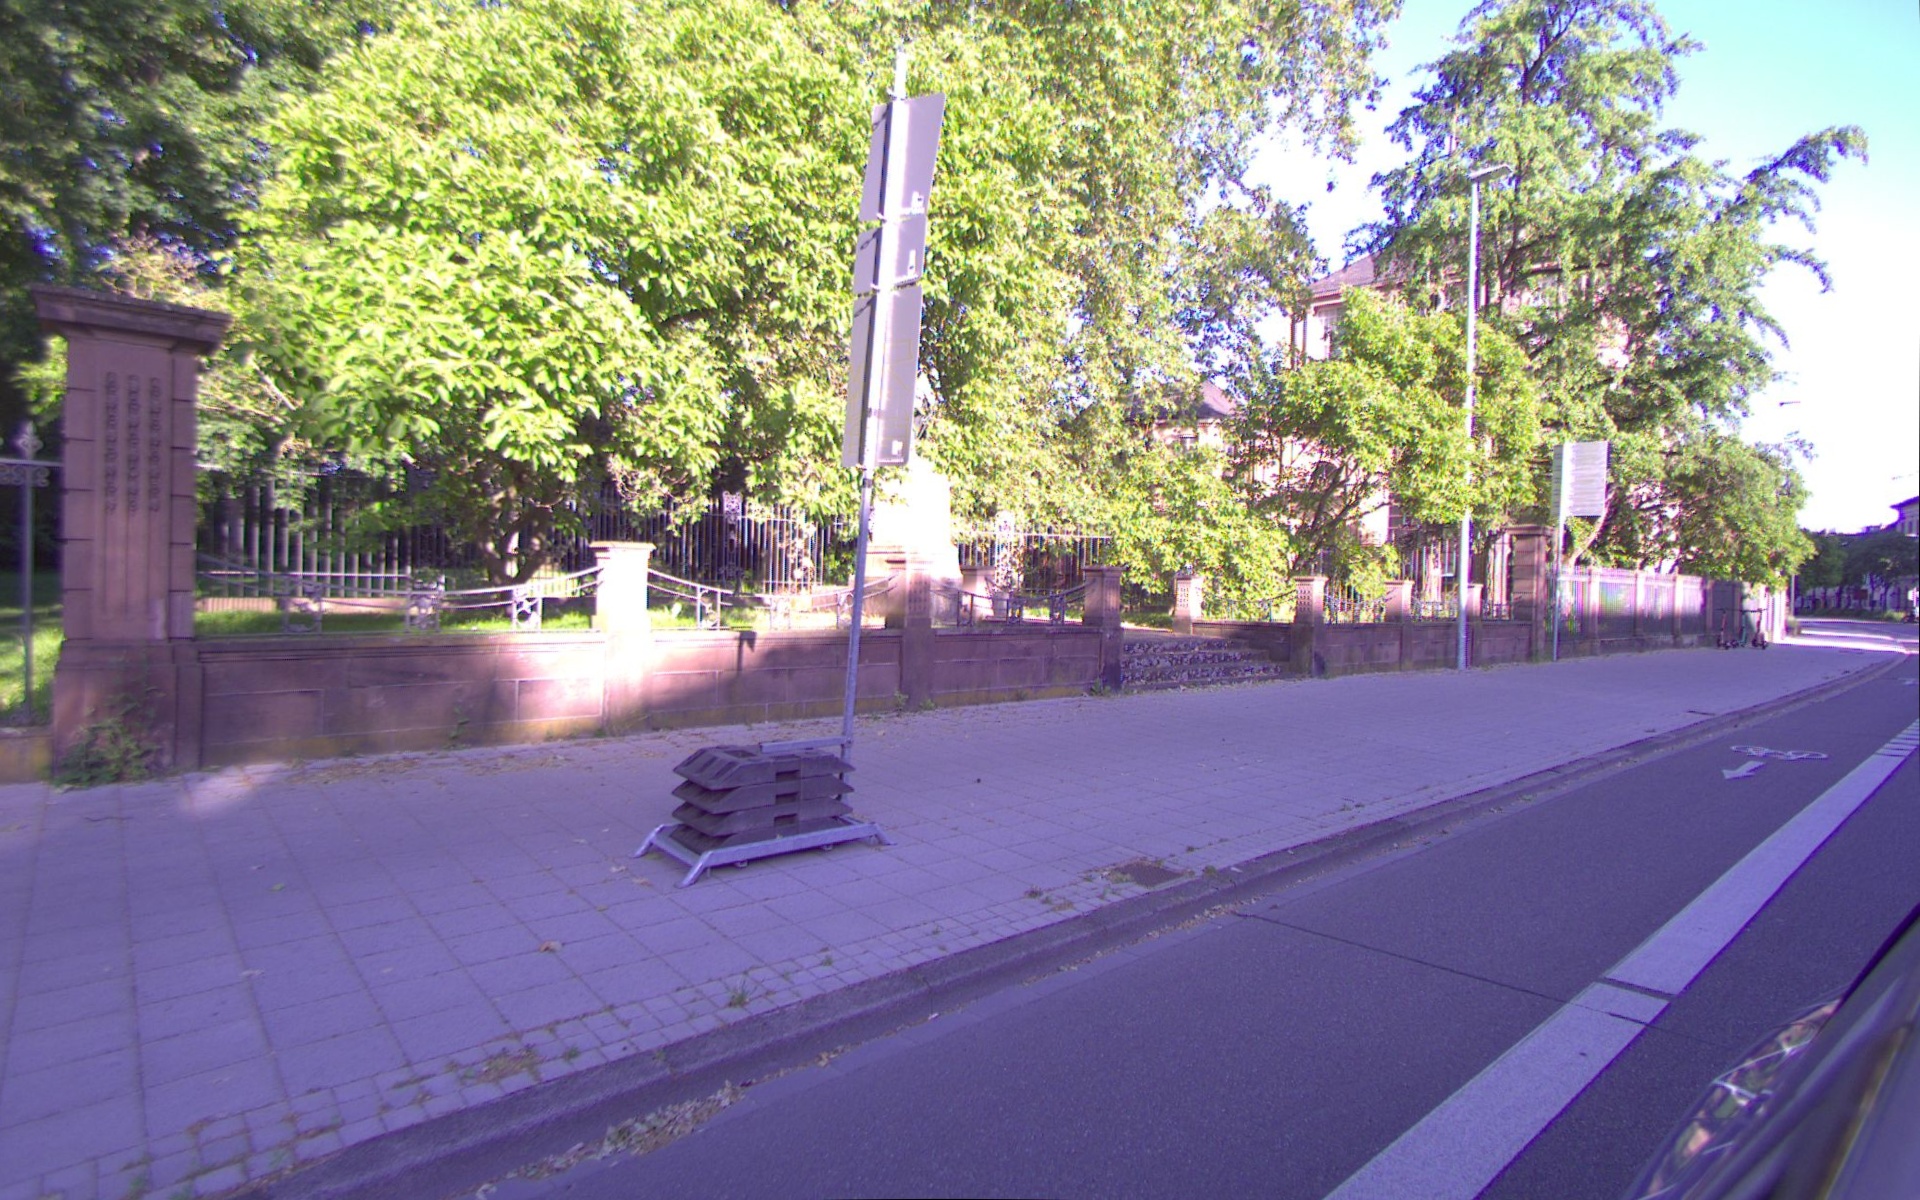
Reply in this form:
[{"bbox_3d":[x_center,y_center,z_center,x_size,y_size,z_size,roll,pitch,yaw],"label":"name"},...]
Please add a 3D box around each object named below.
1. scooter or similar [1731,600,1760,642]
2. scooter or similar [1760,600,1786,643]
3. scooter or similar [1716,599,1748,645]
[{"bbox_3d":[23.618,0.628,30.434,0.574,1.199,1.465,3,2,41],"label":"scooter or similar"},{"bbox_3d":[24.718,0.639,30.783,0.514,1.255,1.502,2,2,37],"label":"scooter or similar"},{"bbox_3d":[22.270,0.611,29.209,0.572,1.269,1.470,2,2,33],"label":"scooter or similar"}]
